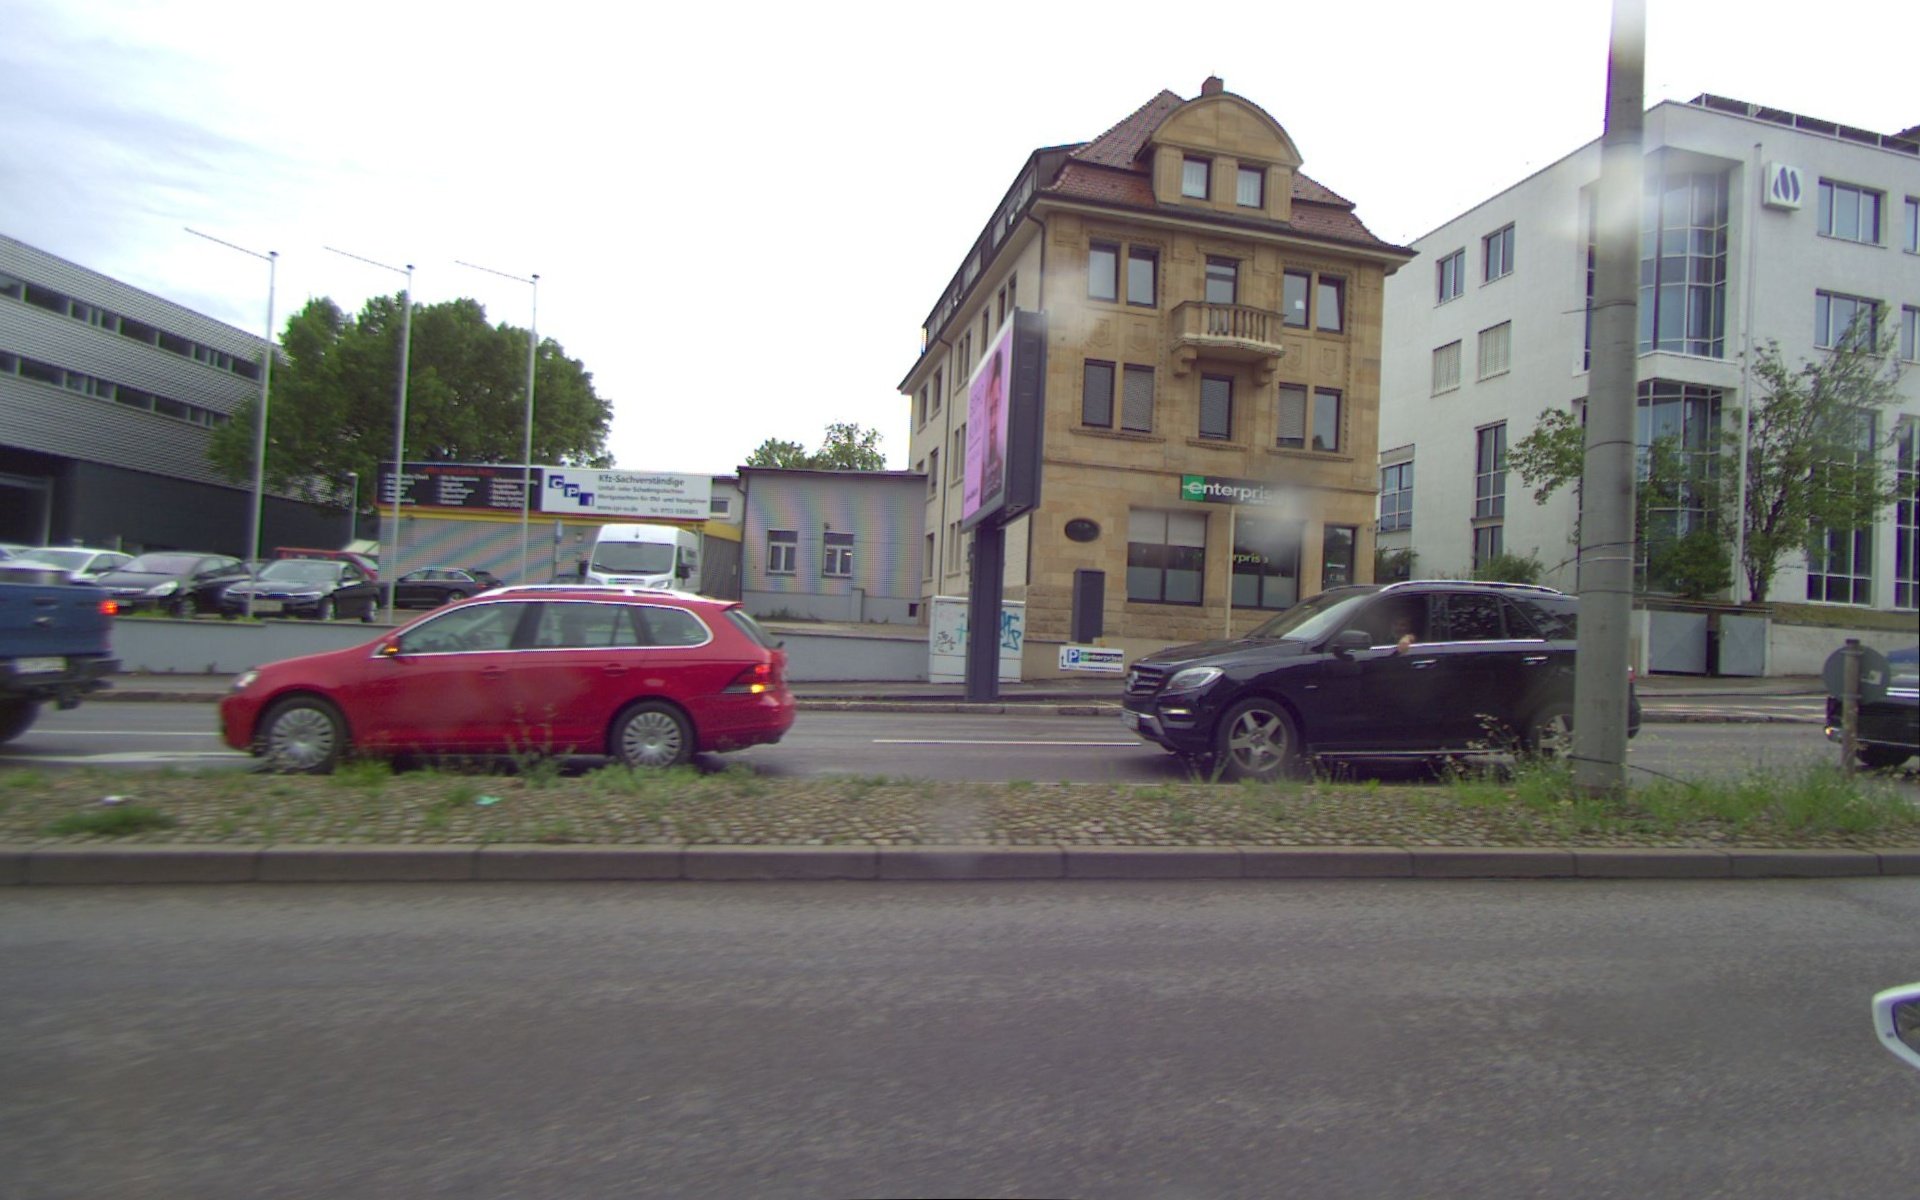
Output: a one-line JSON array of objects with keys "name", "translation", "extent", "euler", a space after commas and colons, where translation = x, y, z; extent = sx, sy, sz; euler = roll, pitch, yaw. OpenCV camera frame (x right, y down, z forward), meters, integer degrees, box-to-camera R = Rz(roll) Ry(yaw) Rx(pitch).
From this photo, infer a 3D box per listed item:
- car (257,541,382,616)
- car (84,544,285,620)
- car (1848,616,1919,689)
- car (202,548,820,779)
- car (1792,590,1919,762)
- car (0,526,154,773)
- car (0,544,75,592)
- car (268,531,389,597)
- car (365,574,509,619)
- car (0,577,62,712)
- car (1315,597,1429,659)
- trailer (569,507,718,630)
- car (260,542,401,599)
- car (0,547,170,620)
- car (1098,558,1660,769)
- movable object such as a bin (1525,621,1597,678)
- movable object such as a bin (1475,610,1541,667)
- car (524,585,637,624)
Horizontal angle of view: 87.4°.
[{"name": "car", "translation": [-13.624, -0.463, 21.504], "extent": [1.205, 1.443, 2.683], "euler": [2, 1, -8]}, {"name": "car", "translation": [-16.032, -0.384, 21.001], "extent": [1.710, 1.387, 3.617], "euler": [3, 1, -8]}, {"name": "car", "translation": [22.537, 1.135, 22.365], "extent": [4.589, 1.554, 1.690], "euler": [0, -1, -11]}, {"name": "car", "translation": [-3.429, 0.540, 8.526], "extent": [4.361, 1.551, 1.810], "euler": [3, -2, -9]}, {"name": "car", "translation": [11.373, 0.857, 10.228], "extent": [4.640, 1.625, 1.692], "euler": [3, -2, -6]}, {"name": "car", "translation": [-9.756, 0.314, 7.826], "extent": [5.075, 1.842, 1.938], "euler": [2, -1, -8]}, {"name": "car", "translation": [-29.702, -1.027, 30.950], "extent": [3.238, 1.338, 1.572], "euler": [3, -2, -10]}, {"name": "car", "translation": [-26.880, -1.513, 42.851], "extent": [3.909, 2.530, 1.654], "euler": [3, -1, -2]}, {"name": "car", "translation": [-18.034, -0.118, 34.733], "extent": [4.254, 1.425, 1.374], "euler": [1, -2, 2]}, {"name": "car", "translation": [-12.467, 0.377, 10.727], "extent": [3.997, 1.478, 1.545], "euler": [3, -2, -9]}, {"name": "car", "translation": [12.336, 0.834, 30.243], "extent": [1.686, 1.697, 3.045], "euler": [3, -2, -12]}, {"name": "trailer", "translation": [-7.548, -0.579, 24.822], "extent": [2.352, 2.460, 7.110], "euler": [3, -2, -9]}, {"name": "car", "translation": [-24.419, -1.115, 39.069], "extent": [4.227, 1.885, 1.741], "euler": [3, -2, -2]}, {"name": "car", "translation": [-19.033, -0.382, 21.394], "extent": [1.839, 1.387, 3.617], "euler": [3, 1, -8]}, {"name": "car", "translation": [3.776, 0.590, 9.495], "extent": [4.540, 1.719, 1.959], "euler": [1, -1, -8]}, {"name": "movable object such as a bin", "translation": [15.807, 1.277, 26.441], "extent": [1.079, 1.425, 1.187], "euler": [1, 1, -13]}, {"name": "movable object such as a bin", "translation": [15.494, 1.077, 28.426], "extent": [1.023, 1.561, 1.245], "euler": [2, -1, -14]}, {"name": "car", "translation": [-13.008, 0.173, 34.505], "extent": [3.344, 1.122, 1.324], "euler": [3, -2, 5]}]
